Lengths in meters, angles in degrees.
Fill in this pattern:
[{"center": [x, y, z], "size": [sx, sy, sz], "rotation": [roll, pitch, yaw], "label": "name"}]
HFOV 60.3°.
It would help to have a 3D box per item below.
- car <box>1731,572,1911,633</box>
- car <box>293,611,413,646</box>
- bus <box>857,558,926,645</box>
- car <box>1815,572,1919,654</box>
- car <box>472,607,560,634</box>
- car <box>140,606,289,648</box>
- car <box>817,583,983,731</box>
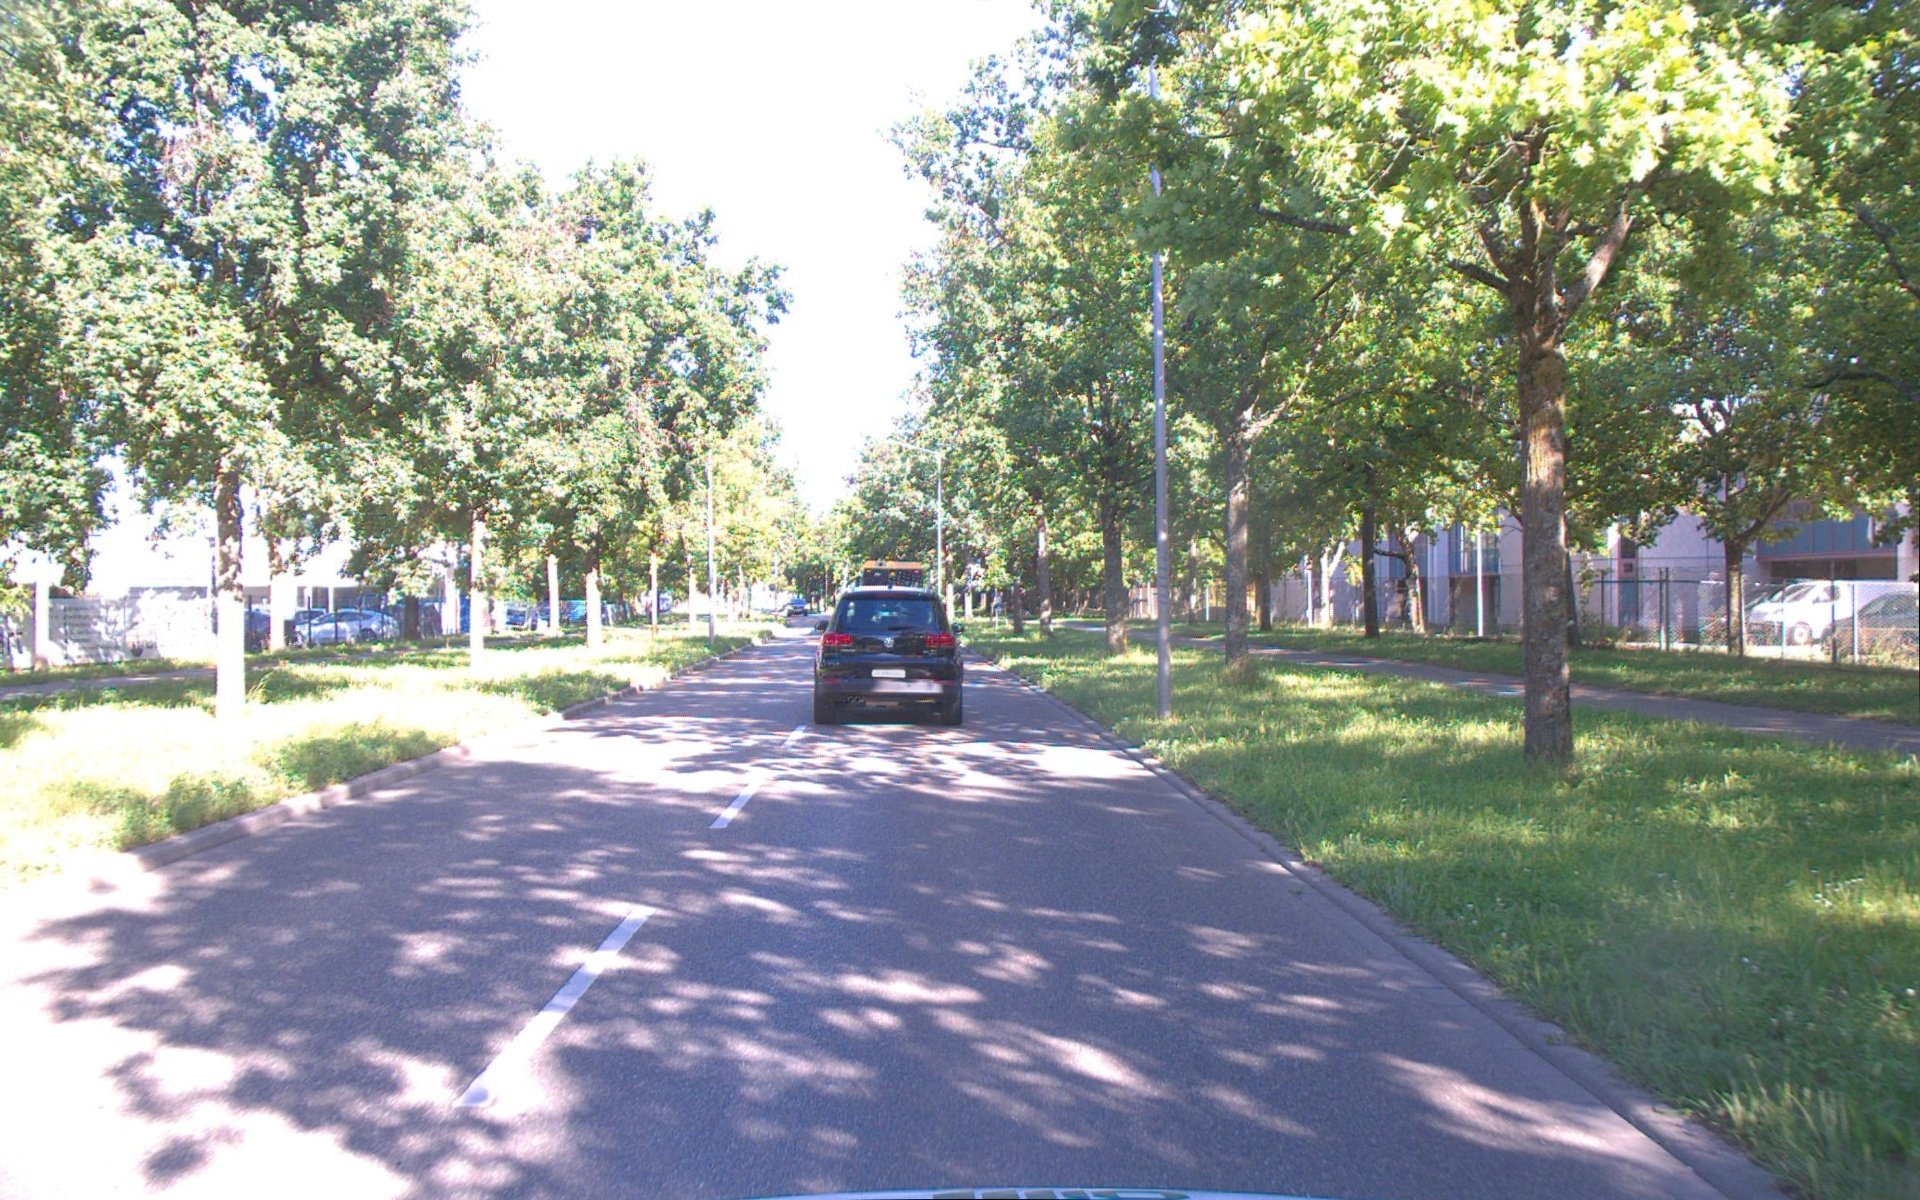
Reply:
[{"center": [26.664, 0.070, 51.317], "size": [4.539, 1.775, 2.188], "rotation": [-1, 0, -8], "label": "car"}, {"center": [-24.368, 1.115, 66.494], "size": [4.114, 1.310, 1.940], "rotation": [-1, 0, -3], "label": "car"}, {"center": [-2.930, 0.061, 73.196], "size": [2.708, 3.517, 11.208], "rotation": [-1, 0, -1], "label": "bus"}, {"center": [21.845, 0.268, 37.681], "size": [2.141, 1.775, 4.639], "rotation": [-1, 0, -3], "label": "car"}, {"center": [-23.878, 1.099, 89.049], "size": [4.110, 1.344, 1.942], "rotation": [-1, 0, 3], "label": "car"}, {"center": [-25.036, 0.906, 55.675], "size": [4.114, 1.310, 1.940], "rotation": [-1, 0, -3], "label": "car"}, {"center": [-0.748, 0.647, 21.317], "size": [1.897, 1.685, 4.425], "rotation": [1, 0, -2], "label": "car"}]
